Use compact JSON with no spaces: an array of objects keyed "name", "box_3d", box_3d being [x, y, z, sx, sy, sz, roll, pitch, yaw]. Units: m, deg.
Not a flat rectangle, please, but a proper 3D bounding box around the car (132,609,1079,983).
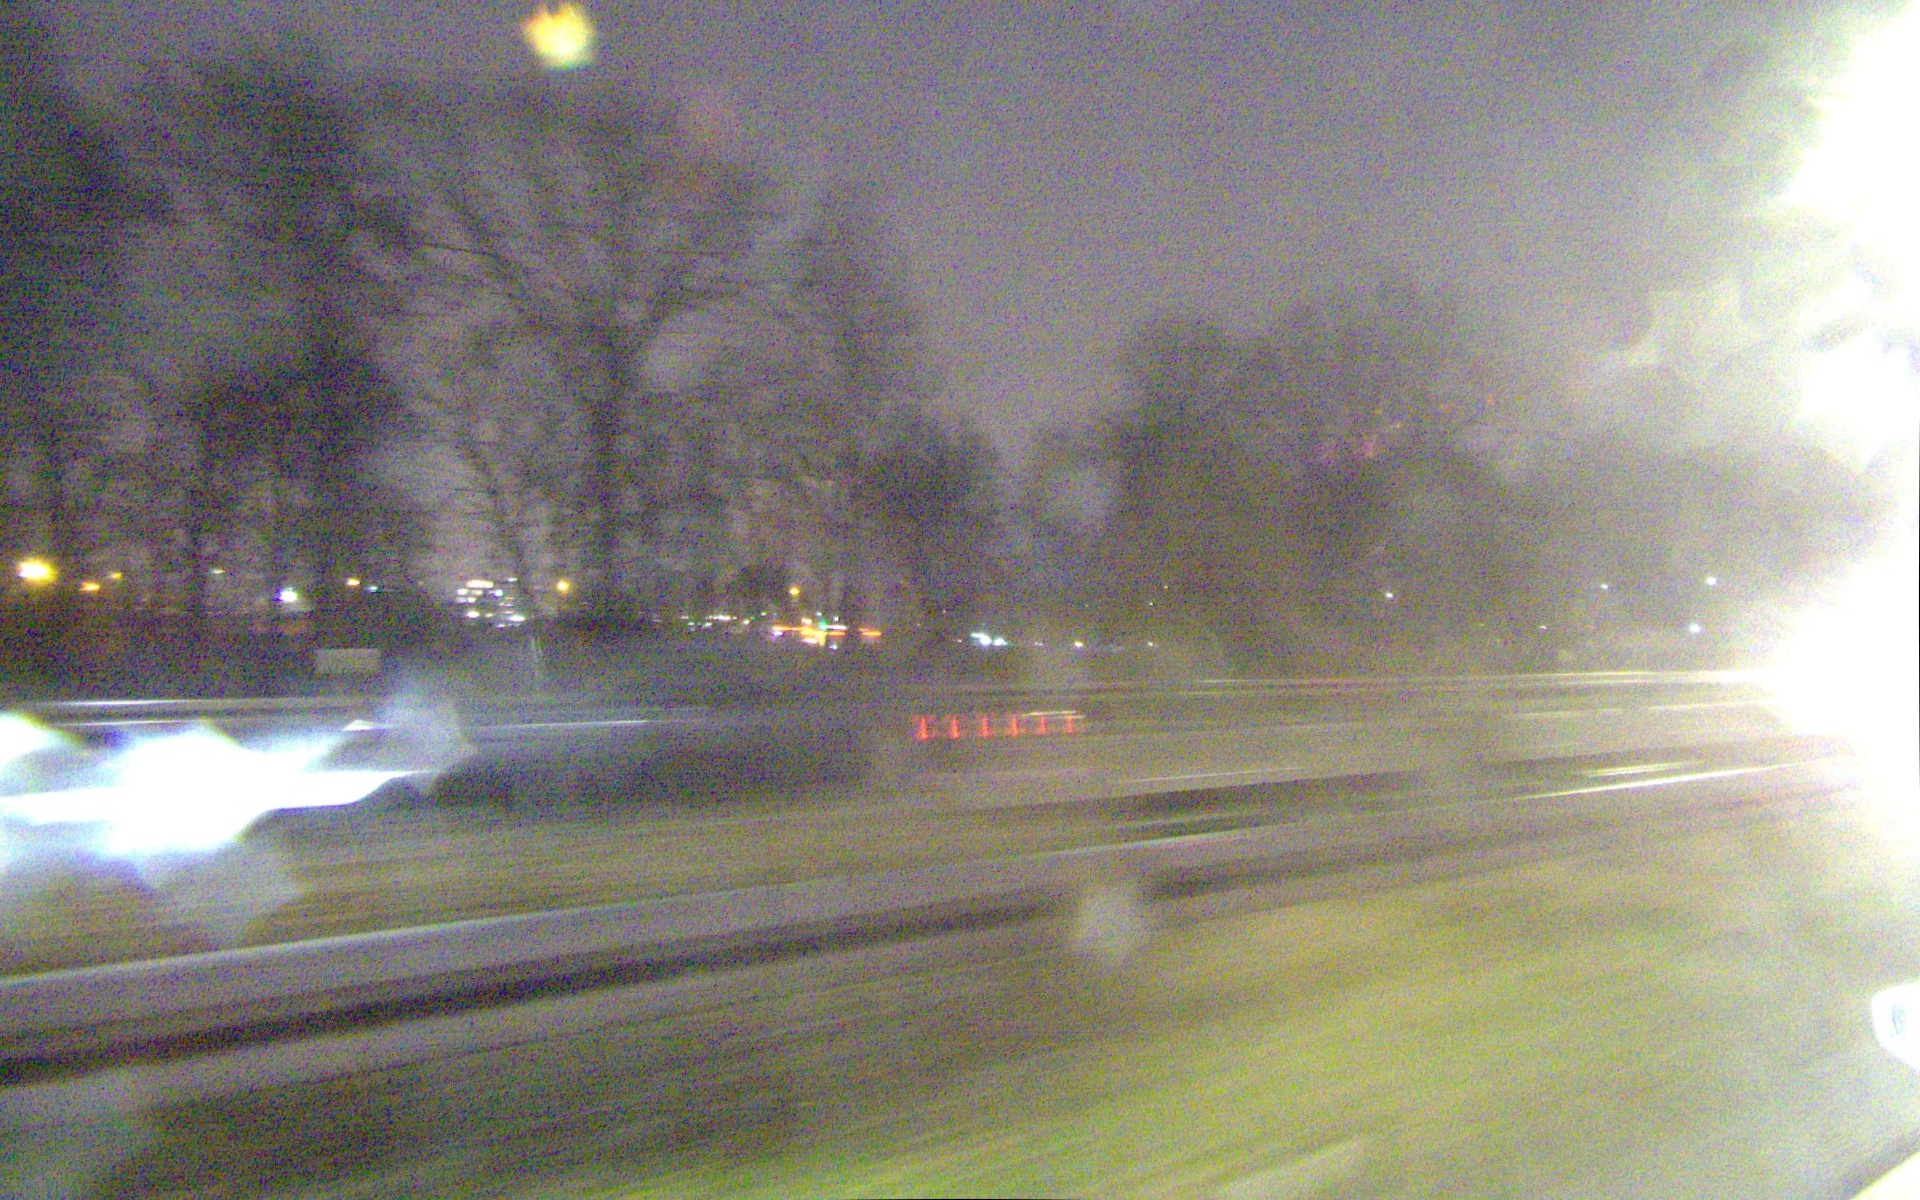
[{"name":"car","box_3d":[-1.731,0.856,6.044,4.723,1.495,1.847,2,-1,-31]}]
